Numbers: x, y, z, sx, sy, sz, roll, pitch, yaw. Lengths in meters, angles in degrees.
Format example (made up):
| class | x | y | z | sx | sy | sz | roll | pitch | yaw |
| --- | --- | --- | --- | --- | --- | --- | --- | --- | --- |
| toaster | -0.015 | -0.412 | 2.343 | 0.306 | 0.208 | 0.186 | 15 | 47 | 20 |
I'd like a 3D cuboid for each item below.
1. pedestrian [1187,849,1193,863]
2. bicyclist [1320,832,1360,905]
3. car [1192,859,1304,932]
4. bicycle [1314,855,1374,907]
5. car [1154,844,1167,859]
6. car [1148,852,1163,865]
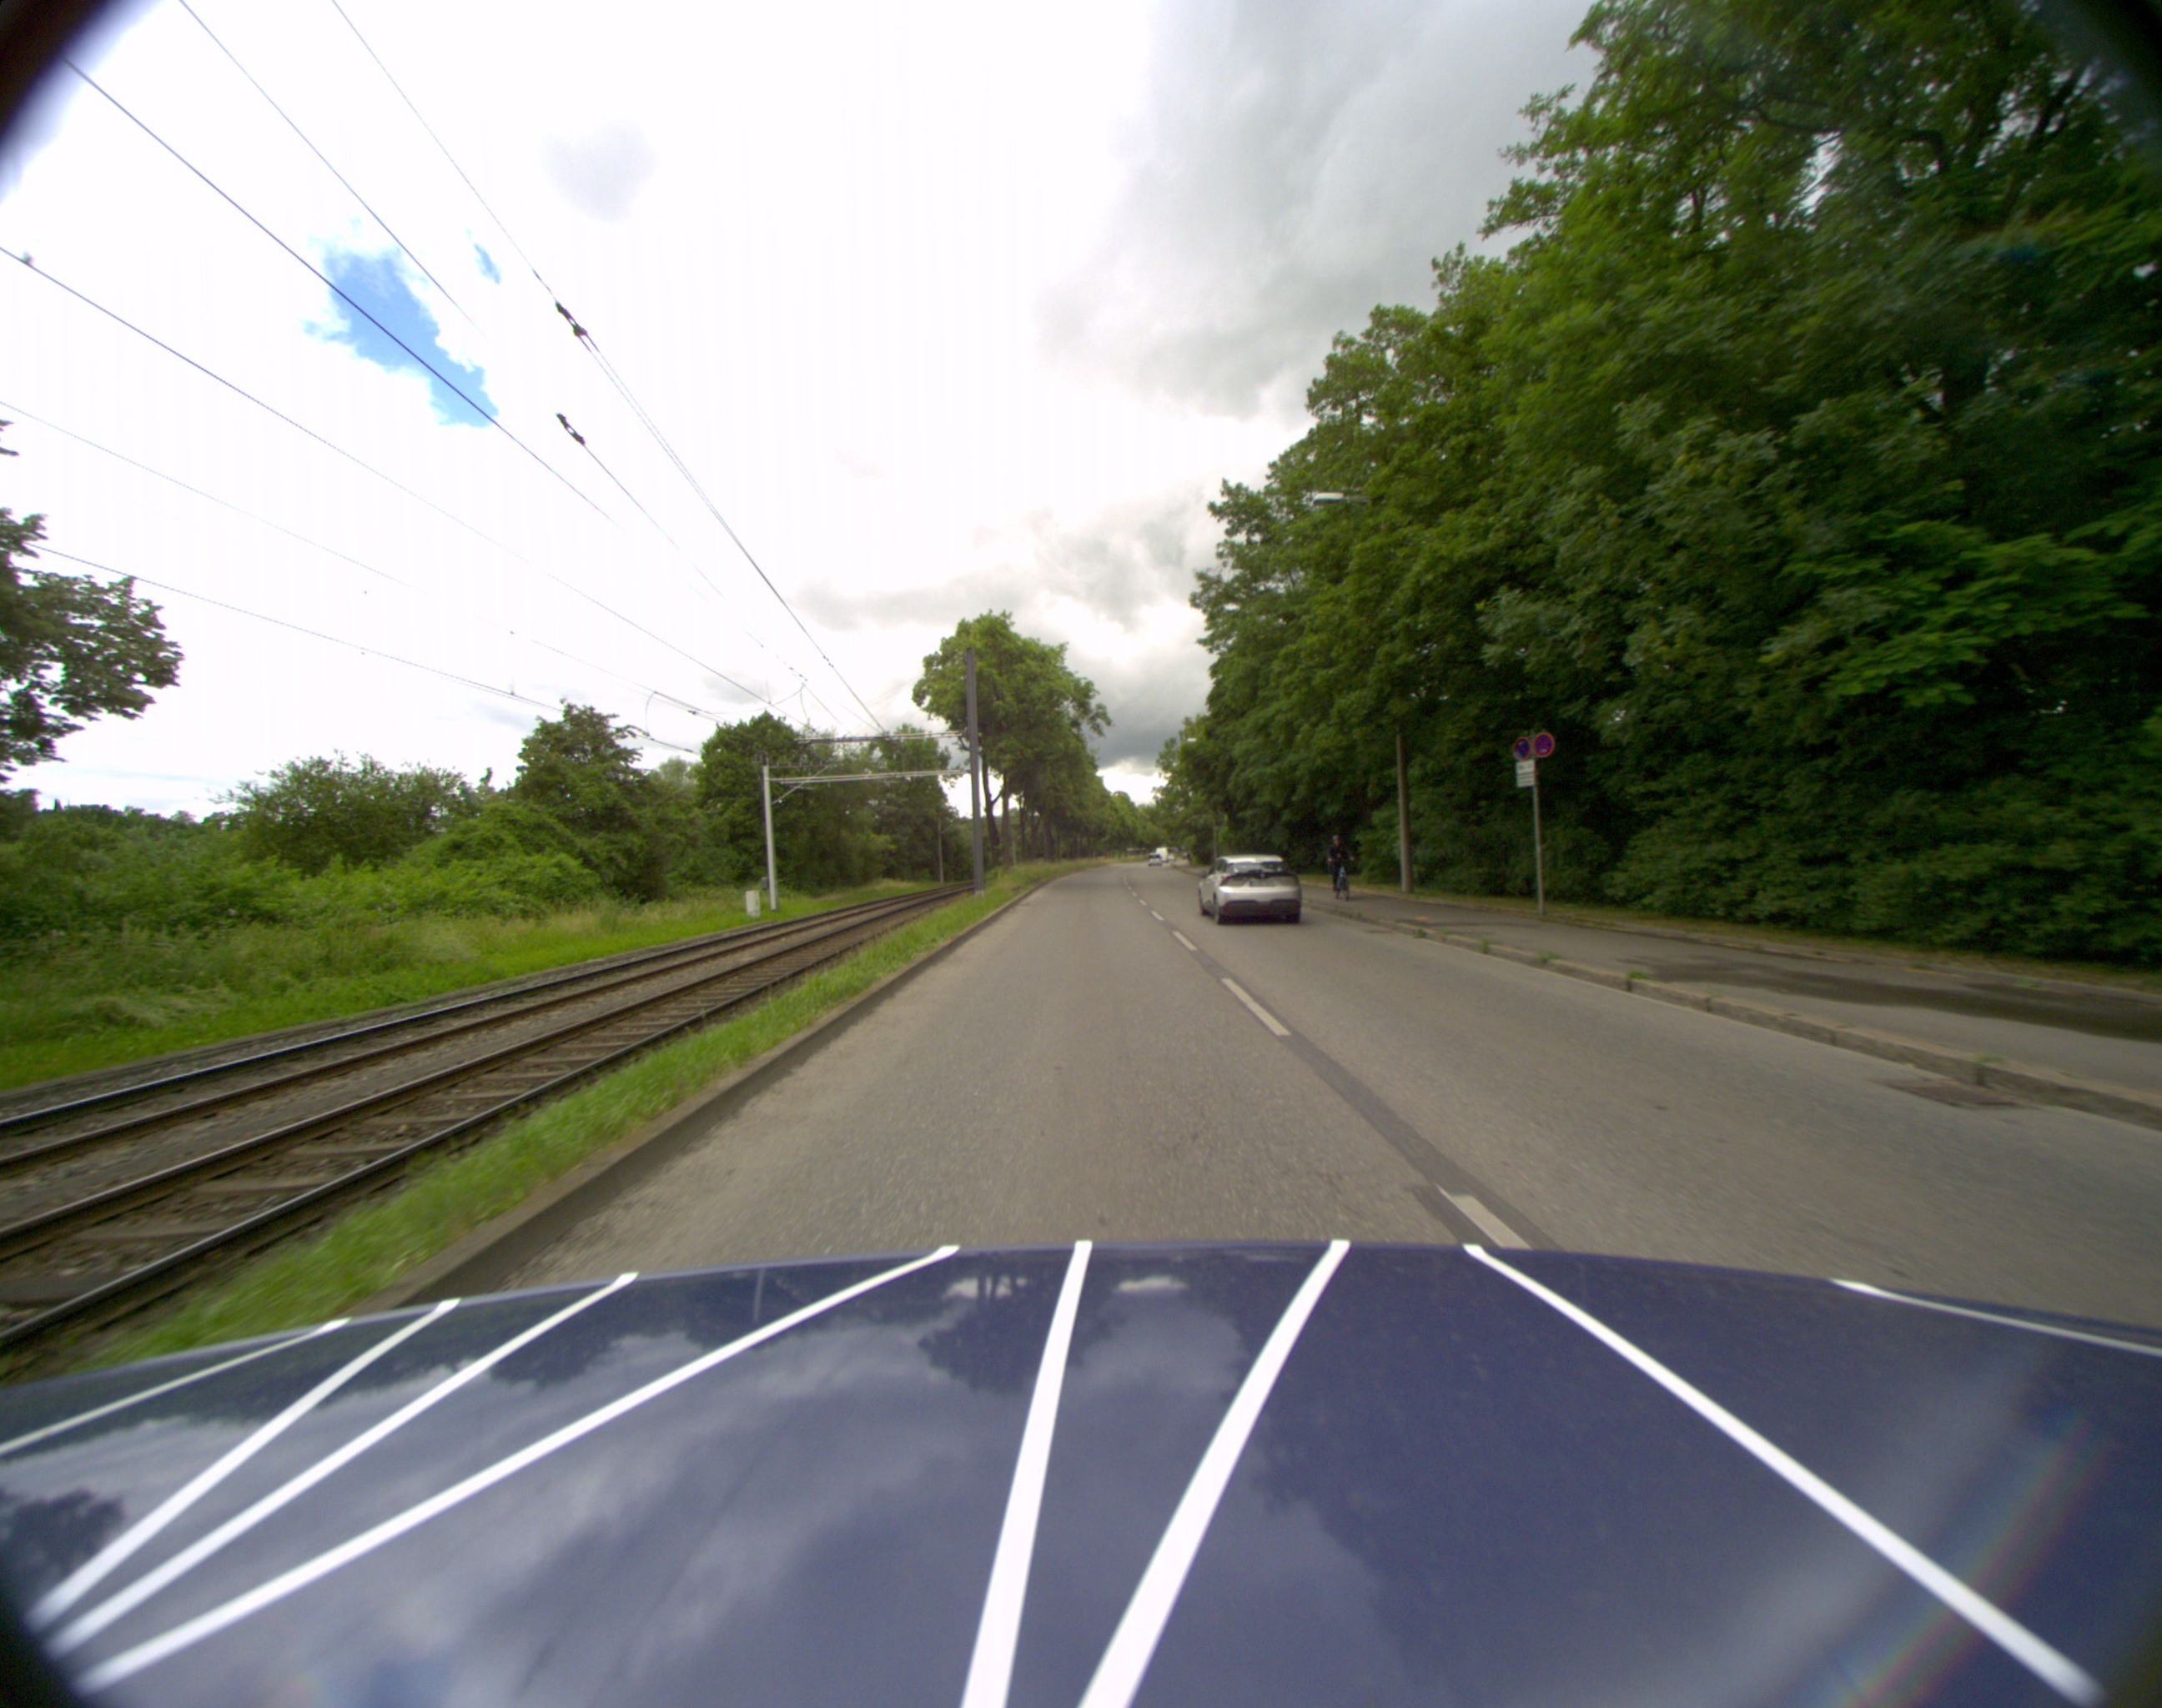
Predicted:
| class | x | y | z | sx | sy | sz | roll | pitch | yaw |
| --- | --- | --- | --- | --- | --- | --- | --- | --- | --- |
| pedestrian | 13.855 | 0.256 | 96.242 | 0.600 | 1.704 | 0.815 | -4 | 0 | 4 |
| bicyclist | 7.211 | 0.399 | 21.190 | 0.688 | 1.937 | 0.835 | -4 | 0 | -2 |
| car | 3.778 | 0.880 | 17.886 | 1.798 | 1.483 | 4.180 | 0 | 0 | 1 |
| bicycle | 7.241 | 0.703 | 21.042 | 0.700 | 1.323 | 2.280 | -4 | 0 | -2 |
| car | 14.361 | -0.430 | 137.120 | 1.998 | 2.611 | 5.897 | -1 | 0 | 4 |
| car | 10.458 | 0.606 | 107.224 | 1.861 | 1.788 | 4.557 | -1 | 0 | 2 |
